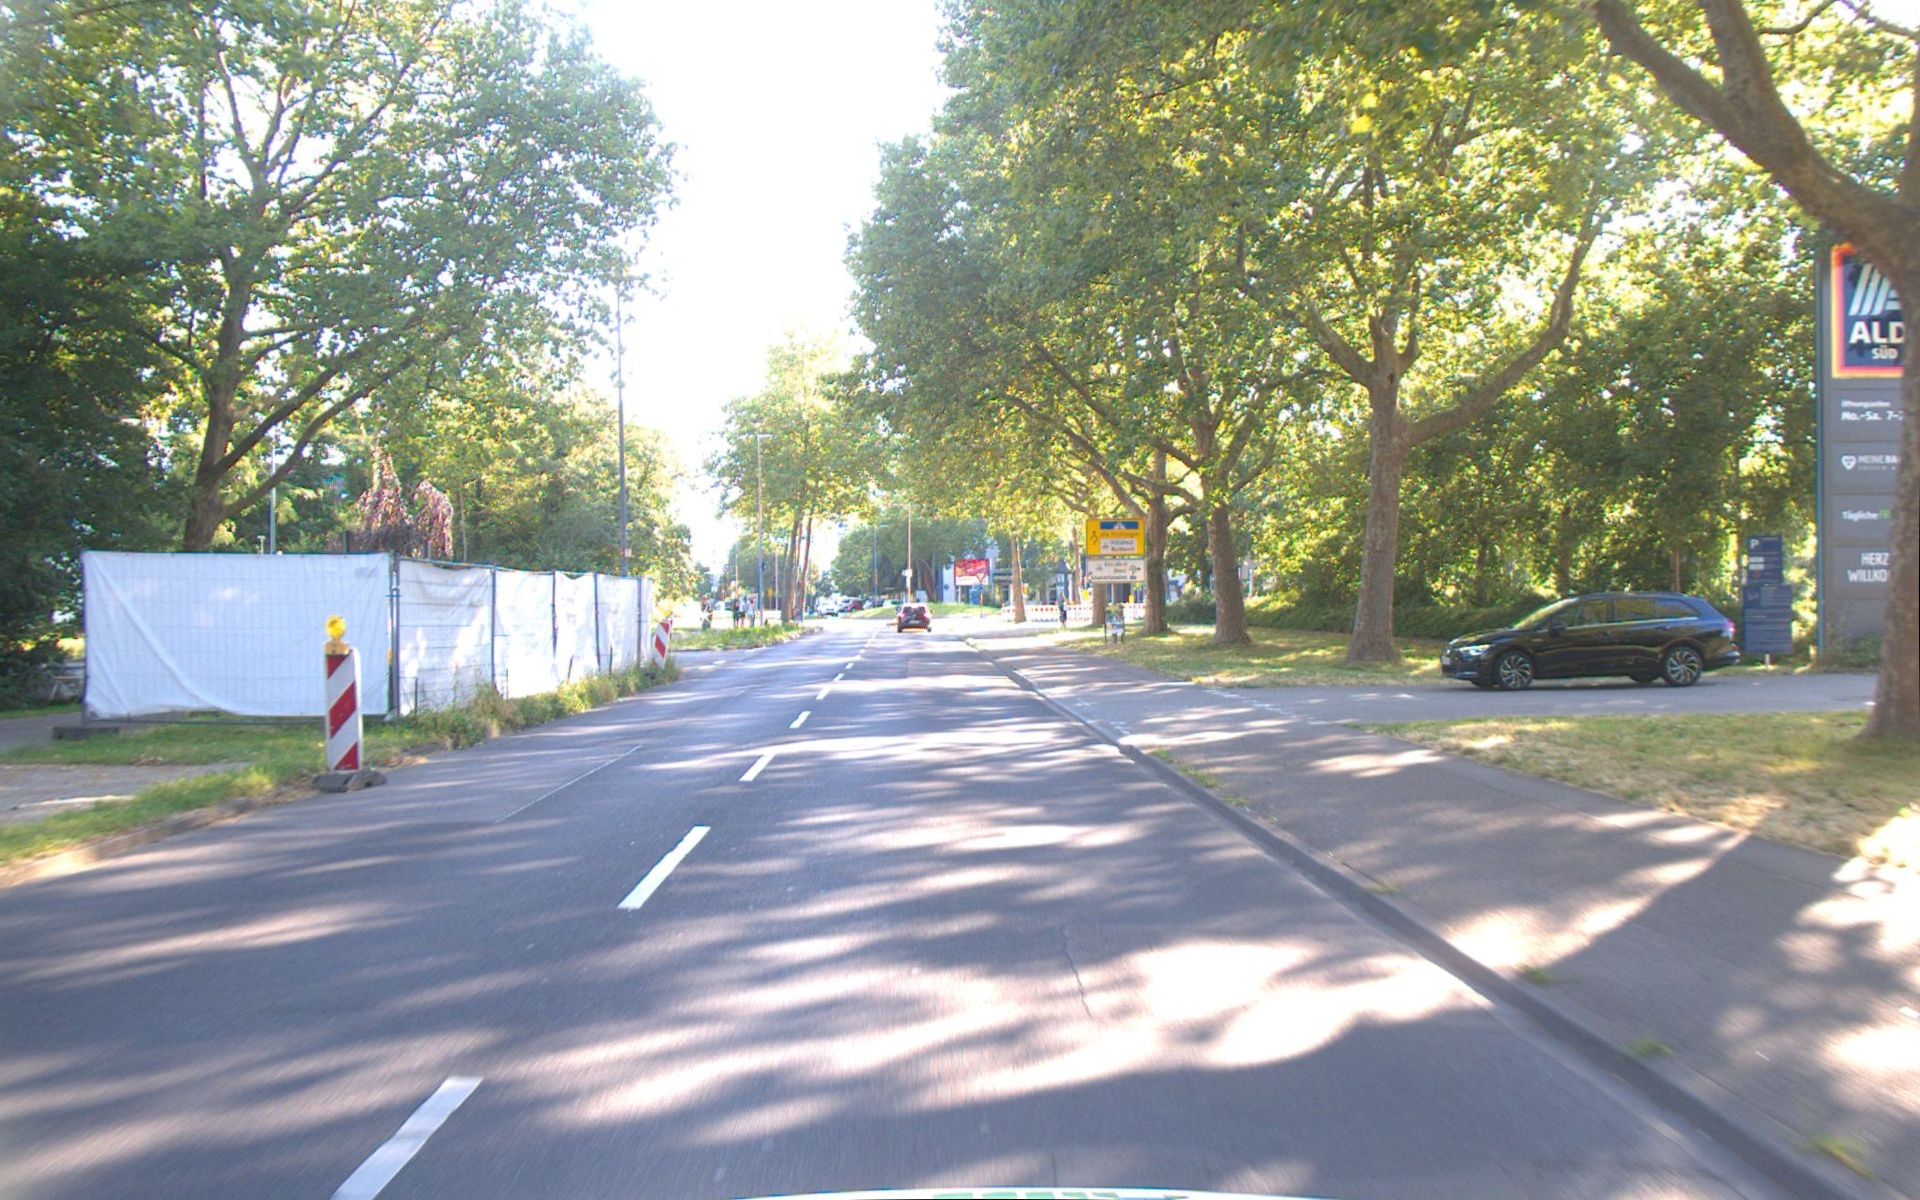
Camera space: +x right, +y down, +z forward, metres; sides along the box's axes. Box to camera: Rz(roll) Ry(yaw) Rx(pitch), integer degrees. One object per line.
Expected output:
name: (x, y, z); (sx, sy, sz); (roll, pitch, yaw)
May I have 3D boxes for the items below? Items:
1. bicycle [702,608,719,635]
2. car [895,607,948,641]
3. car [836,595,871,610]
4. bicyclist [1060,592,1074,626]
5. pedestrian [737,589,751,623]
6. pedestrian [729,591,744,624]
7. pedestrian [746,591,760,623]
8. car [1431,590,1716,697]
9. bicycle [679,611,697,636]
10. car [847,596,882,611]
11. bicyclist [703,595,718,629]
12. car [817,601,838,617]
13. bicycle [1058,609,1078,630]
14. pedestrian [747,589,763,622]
bicycle: (-12.864, 1.091, 85.336); (0.567, 1.267, 2.107); (-3, 2, -3)
car: (-1.950, 1.221, 85.157); (1.800, 1.633, 3.866); (-1, 0, 12)
car: (-13.074, 0.324, 203.335); (3.948, 1.777, 1.776); (-1, 1, -32)
bicyclist: (5.594, 0.472, 86.229); (0.637, 1.735, 0.871); (0, 1, -1)
pedestrian: (-11.700, 0.324, 89.487); (0.619, 1.769, 0.664); (-2, 1, 0)
pedestrian: (-12.187, 0.400, 90.189); (0.652, 1.769, 0.751); (-2, 1, 0)
pedestrian: (-11.125, 0.373, 88.839); (0.619, 1.666, 0.576); (-2, 1, -1)
car: (9.800, 0.678, 26.626); (3.905, 1.468, 1.761); (-3, 1, 1)
bicycle: (-14.370, 1.239, 87.376); (0.567, 1.206, 2.031); (-6, 1, -3)
car: (-11.581, 0.382, 200.707); (3.948, 1.777, 1.776); (-1, 1, -32)
bicyclist: (-12.882, 0.631, 85.352); (0.567, 1.708, 0.970); (-3, 2, -3)
car: (-14.116, 0.933, 176.088); (1.956, 1.606, 3.994); (-2, 1, -7)
bicycle: (5.630, 1.010, 86.136); (0.754, 0.981, 2.173); (-3, 0, -2)
pedestrian: (-11.197, 0.308, 90.238); (0.733, 1.769, 0.852); (-2, 1, 0)
